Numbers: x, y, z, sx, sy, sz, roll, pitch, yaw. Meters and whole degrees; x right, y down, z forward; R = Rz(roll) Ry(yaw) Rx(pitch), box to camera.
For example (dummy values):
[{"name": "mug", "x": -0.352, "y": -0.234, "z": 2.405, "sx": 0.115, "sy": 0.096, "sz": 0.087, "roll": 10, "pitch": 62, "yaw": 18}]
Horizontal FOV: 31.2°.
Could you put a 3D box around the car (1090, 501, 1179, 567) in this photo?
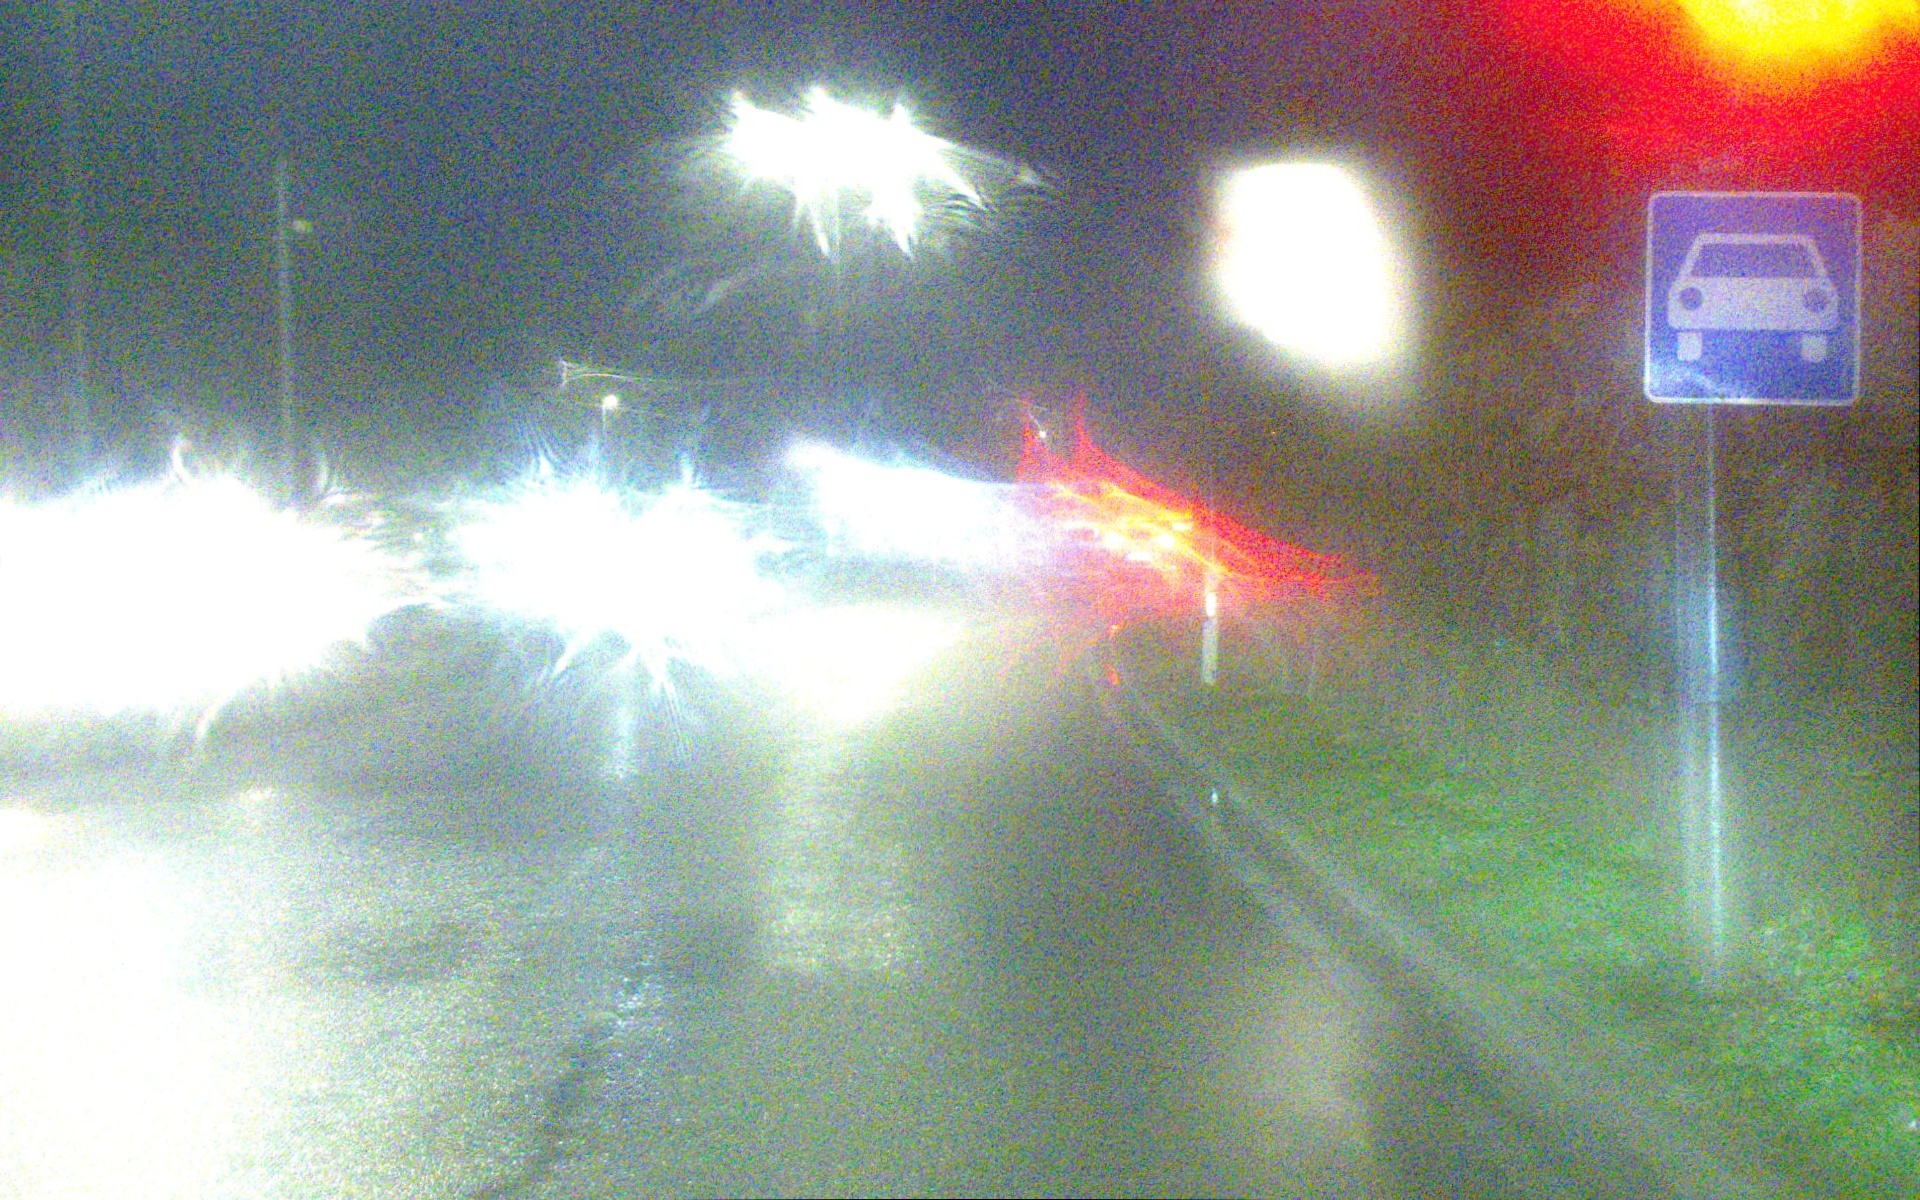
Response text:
[{"name": "car", "x": 4.397, "y": -1.656, "z": 87.040, "sx": 1.993, "sy": 1.605, "sz": 4.103, "roll": 0, "pitch": 0, "yaw": -1}]

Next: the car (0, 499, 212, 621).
[{"name": "car", "x": -12.456, "y": -0.569, "z": 50.286, "sx": 1.994, "sy": 1.714, "sz": 4.000, "roll": 0, "pitch": 0, "yaw": 2}]

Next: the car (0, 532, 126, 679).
[{"name": "car", "x": -10.386, "y": 0.056, "z": 37.308, "sx": 1.585, "sy": 1.520, "sz": 3.651, "roll": 0, "pitch": 0, "yaw": 3}]

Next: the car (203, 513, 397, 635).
[{"name": "car", "x": -9.573, "y": -0.377, "z": 50.138, "sx": 1.718, "sy": 1.697, "sz": 4.142, "roll": 0, "pitch": 0, "yaw": 5}]

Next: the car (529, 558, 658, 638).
[{"name": "car", "x": -7.193, "y": -0.034, "z": 67.831, "sx": 1.708, "sy": 1.529, "sz": 4.599, "roll": 0, "pitch": 0, "yaw": 5}]
